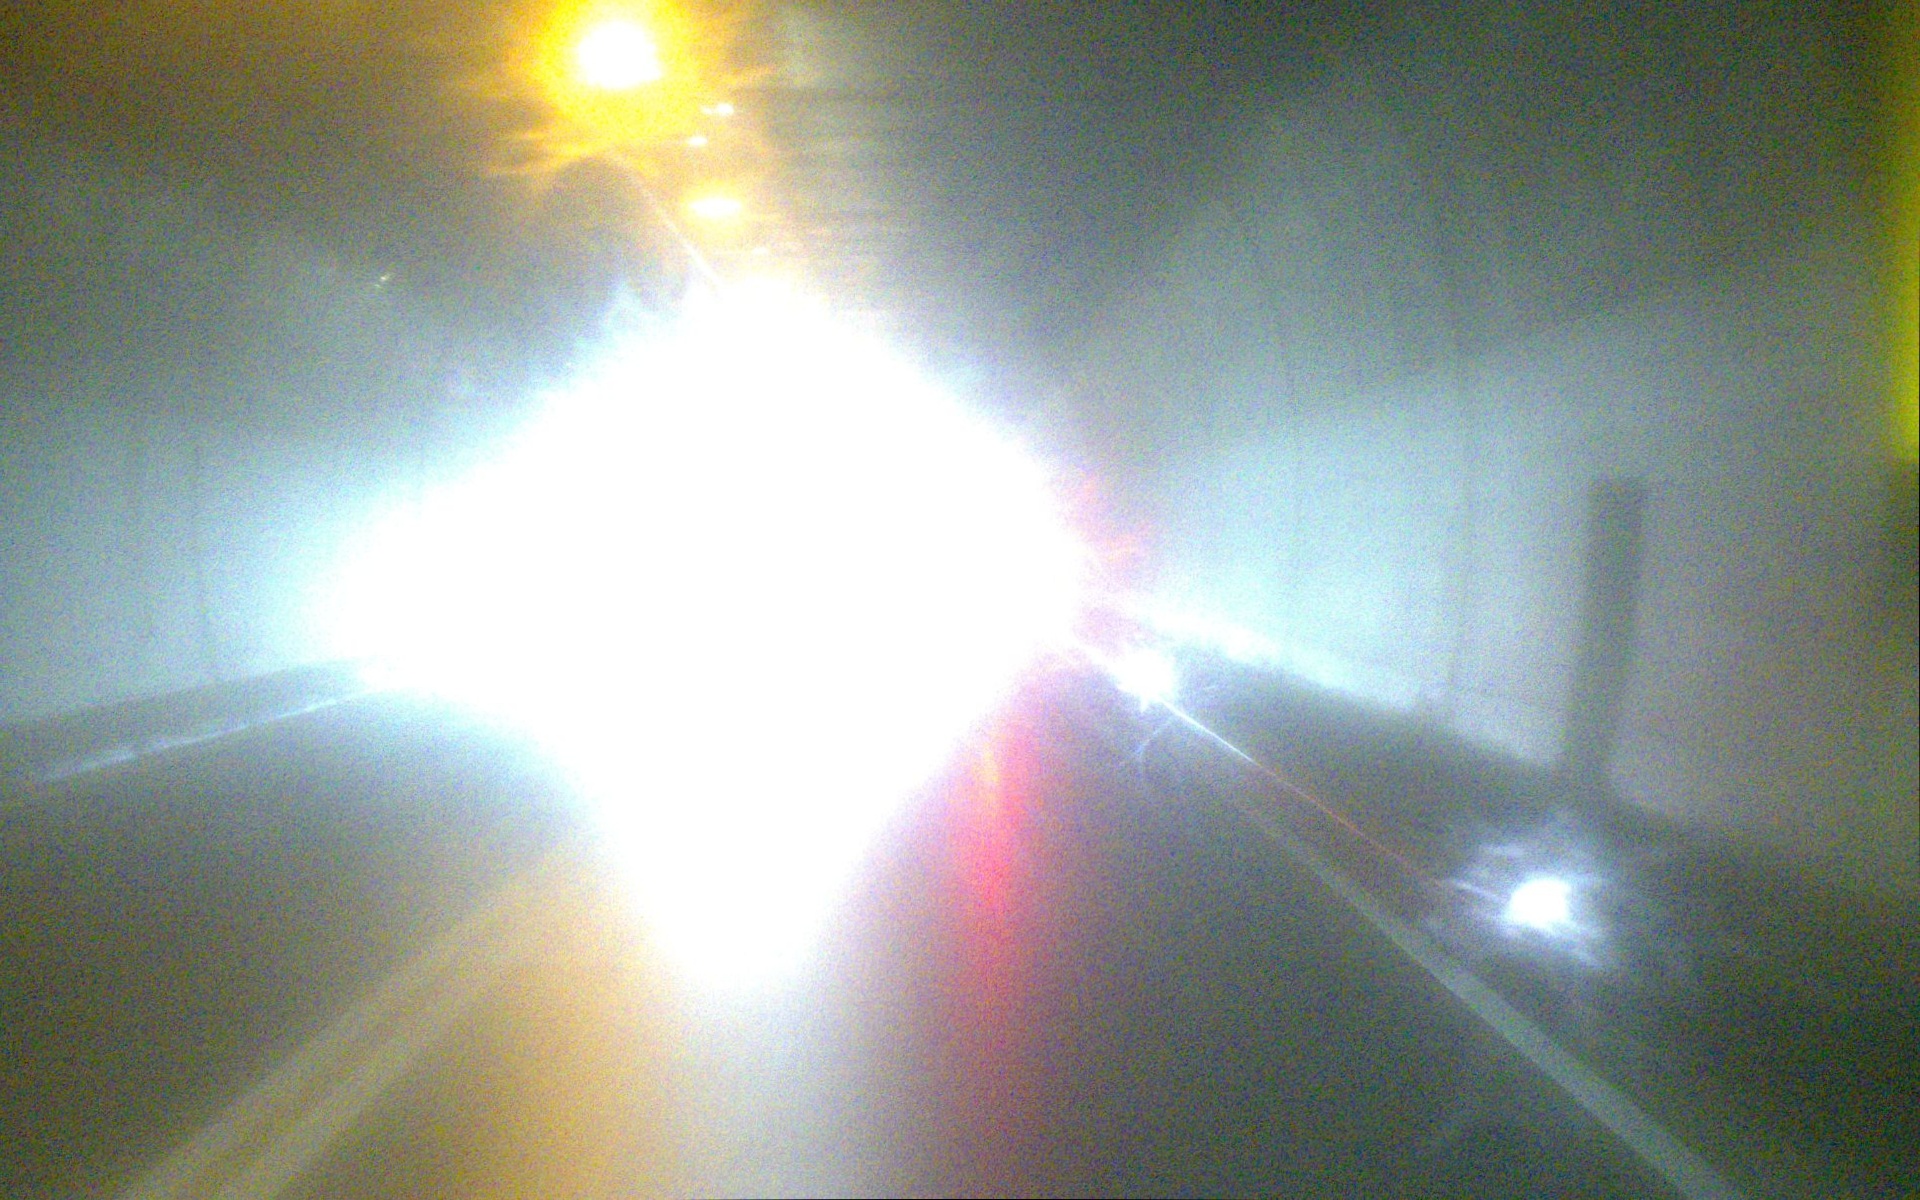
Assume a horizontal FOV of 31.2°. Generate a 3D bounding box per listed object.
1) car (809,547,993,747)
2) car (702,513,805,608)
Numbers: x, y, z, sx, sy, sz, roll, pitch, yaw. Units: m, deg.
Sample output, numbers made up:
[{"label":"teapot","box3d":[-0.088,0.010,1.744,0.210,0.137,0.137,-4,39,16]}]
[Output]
[{"label":"car","box3d":[-0.536,0.395,33.161,1.635,1.752,4.146,-1,1,0]},{"label":"car","box3d":[-4.244,-0.848,71.355,1.841,1.893,4.608,-1,1,0]}]
